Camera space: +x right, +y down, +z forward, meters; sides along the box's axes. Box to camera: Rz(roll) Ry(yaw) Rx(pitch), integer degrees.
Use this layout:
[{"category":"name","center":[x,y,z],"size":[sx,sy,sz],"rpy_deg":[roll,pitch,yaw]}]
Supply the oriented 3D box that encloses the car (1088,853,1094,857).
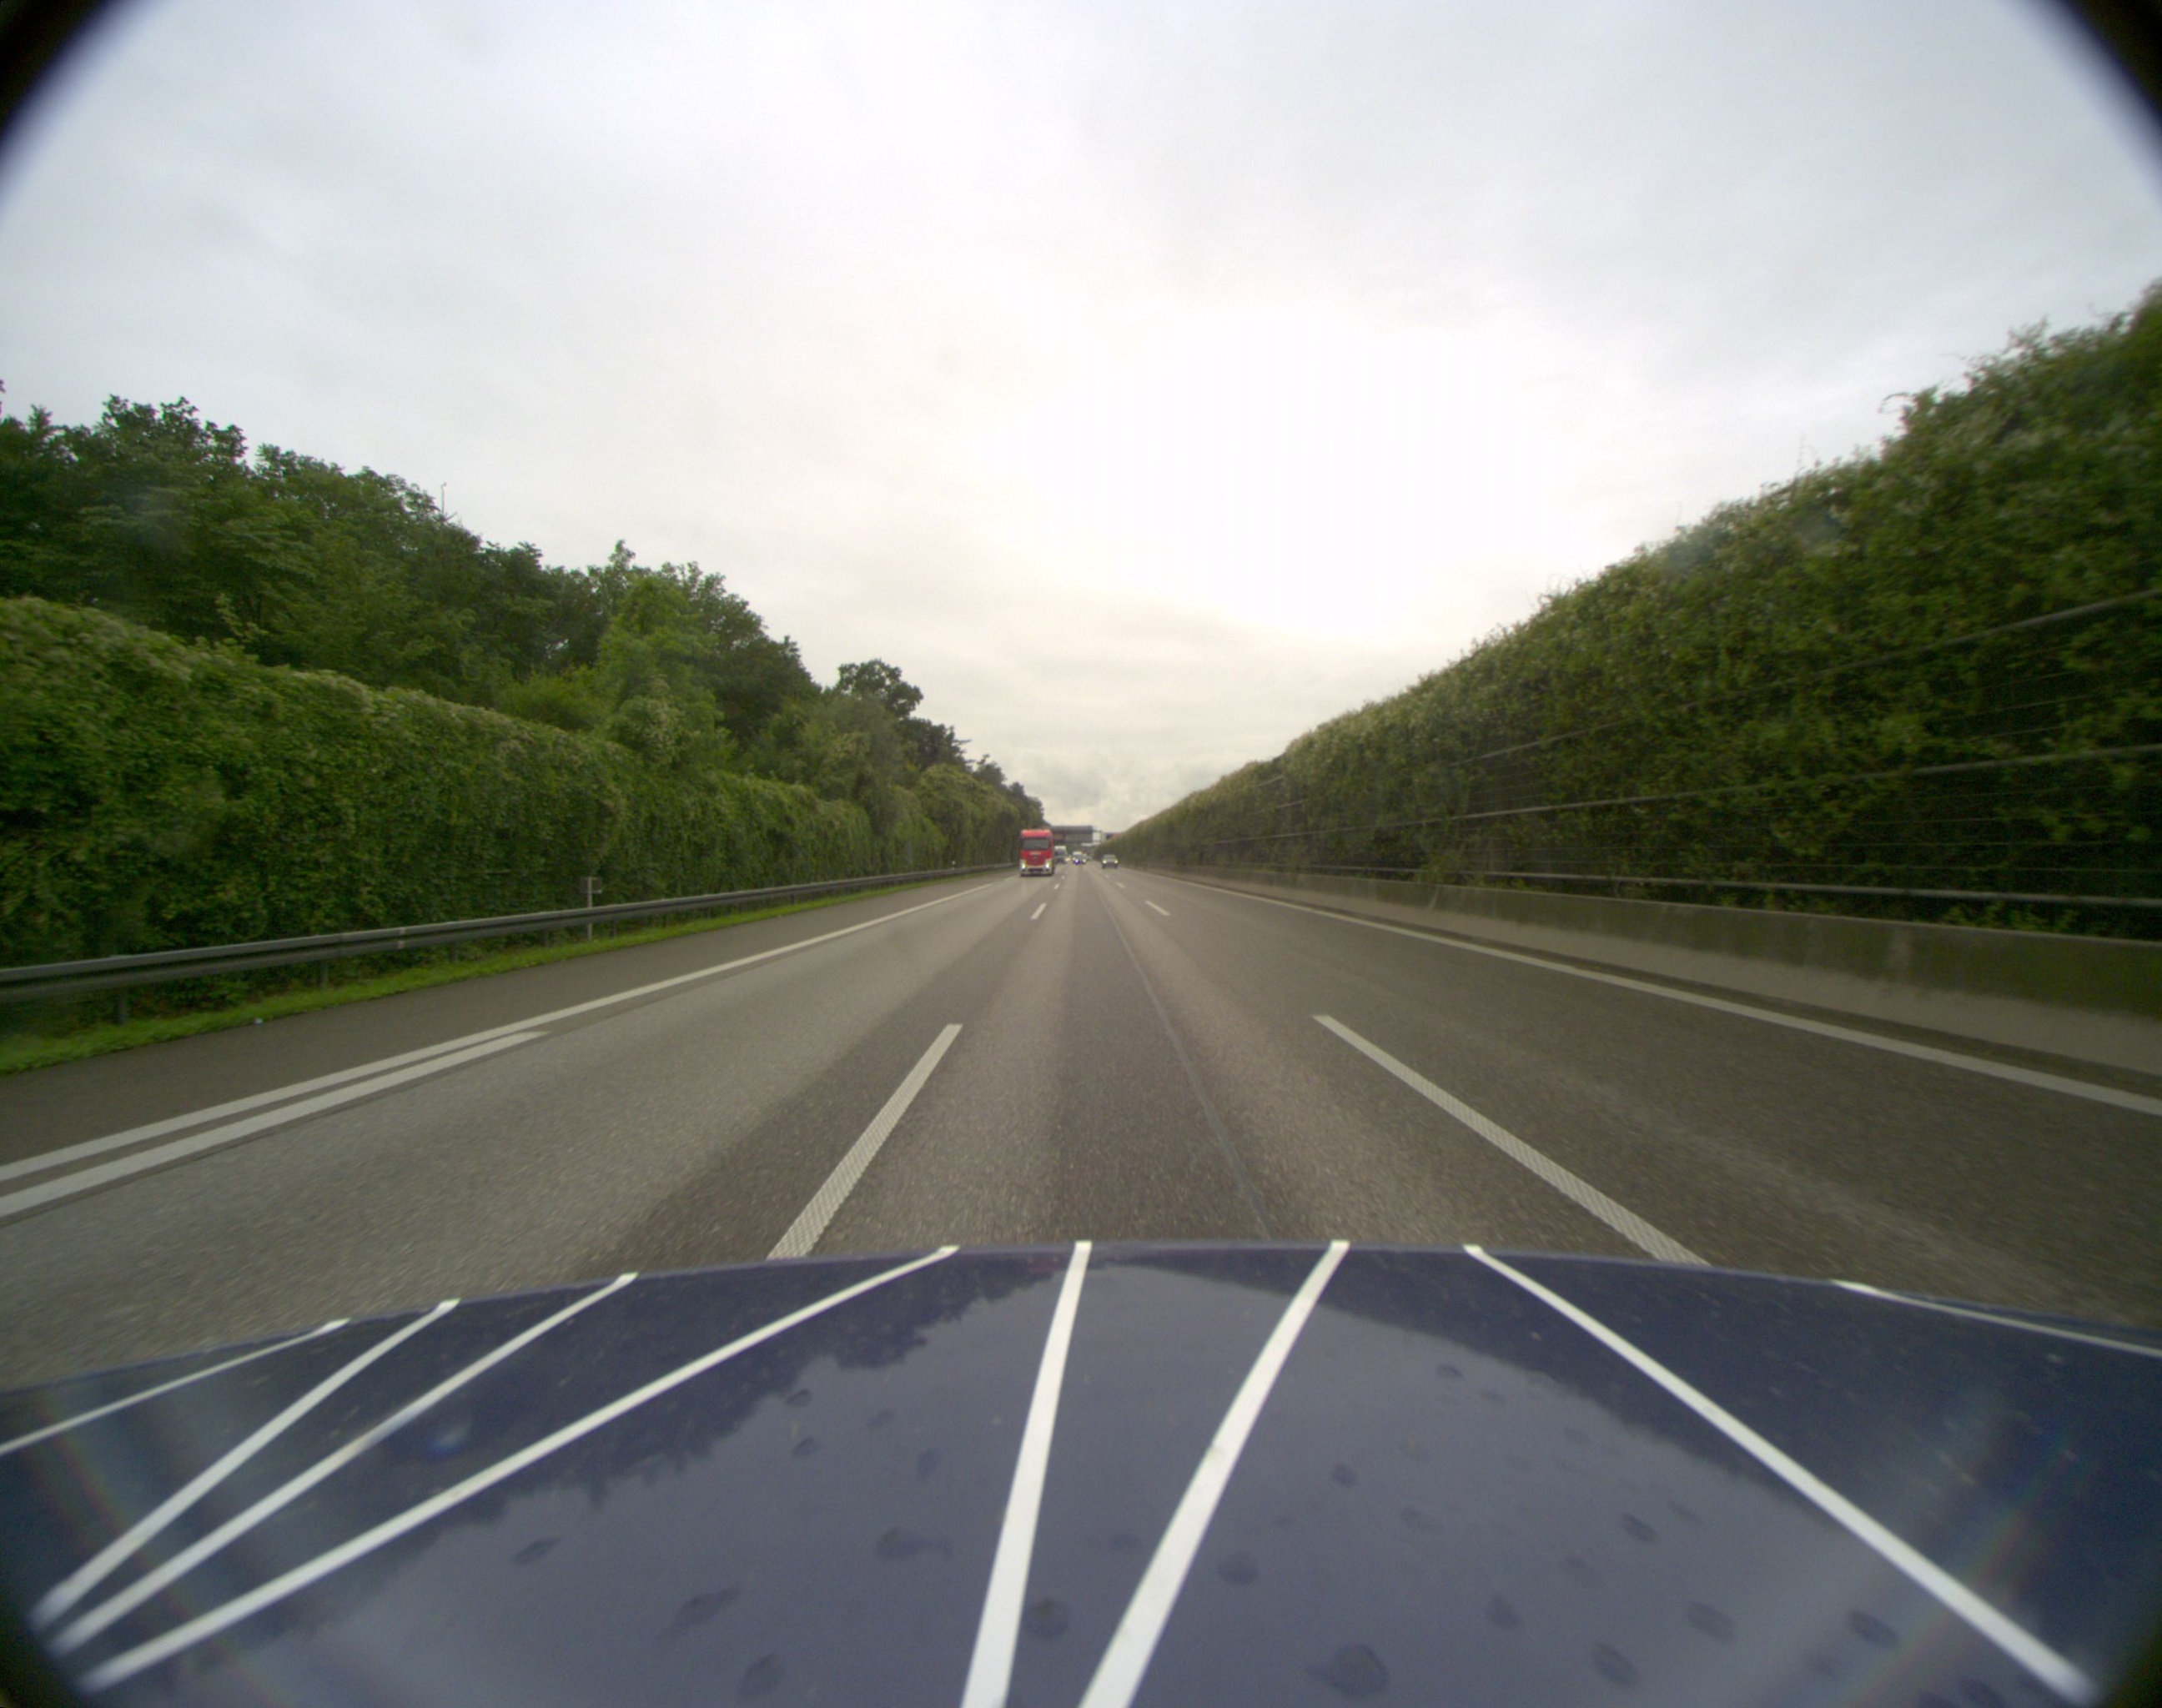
[{"category":"car","center":[3.228,0.370,248.786],"size":[1.751,1.368,4.000],"rpy_deg":[-1,0,0]}]

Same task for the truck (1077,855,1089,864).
[{"category":"truck","center":[0.365,1.002,139.188],"size":[1.824,1.535,4.000],"rpy_deg":[-2,2,4]}]

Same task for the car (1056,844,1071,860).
[{"category":"car","center":[-3.716,-0.511,163.525],"size":[3.039,3.278,6.732],"rpy_deg":[-2,1,0]}]

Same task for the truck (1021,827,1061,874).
[{"category":"truck","center":[-3.342,-0.423,65.985],"size":[2.708,3.690,9.839],"rpy_deg":[-1,2,1]}]

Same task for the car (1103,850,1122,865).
[{"category":"car","center":[3.839,0.441,94.281],"size":[2.023,1.595,5.438],"rpy_deg":[-3,1,0]}]

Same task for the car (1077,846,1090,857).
[{"category":"car","center":[0.467,-0.493,164.141],"size":[2.769,2.227,6.545],"rpy_deg":[-2,1,0]}]

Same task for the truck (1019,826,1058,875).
[{"category":"truck","center":[-3.373,-0.333,61.321],"size":[2.708,3.809,4.197],"rpy_deg":[-1,2,1]}]
